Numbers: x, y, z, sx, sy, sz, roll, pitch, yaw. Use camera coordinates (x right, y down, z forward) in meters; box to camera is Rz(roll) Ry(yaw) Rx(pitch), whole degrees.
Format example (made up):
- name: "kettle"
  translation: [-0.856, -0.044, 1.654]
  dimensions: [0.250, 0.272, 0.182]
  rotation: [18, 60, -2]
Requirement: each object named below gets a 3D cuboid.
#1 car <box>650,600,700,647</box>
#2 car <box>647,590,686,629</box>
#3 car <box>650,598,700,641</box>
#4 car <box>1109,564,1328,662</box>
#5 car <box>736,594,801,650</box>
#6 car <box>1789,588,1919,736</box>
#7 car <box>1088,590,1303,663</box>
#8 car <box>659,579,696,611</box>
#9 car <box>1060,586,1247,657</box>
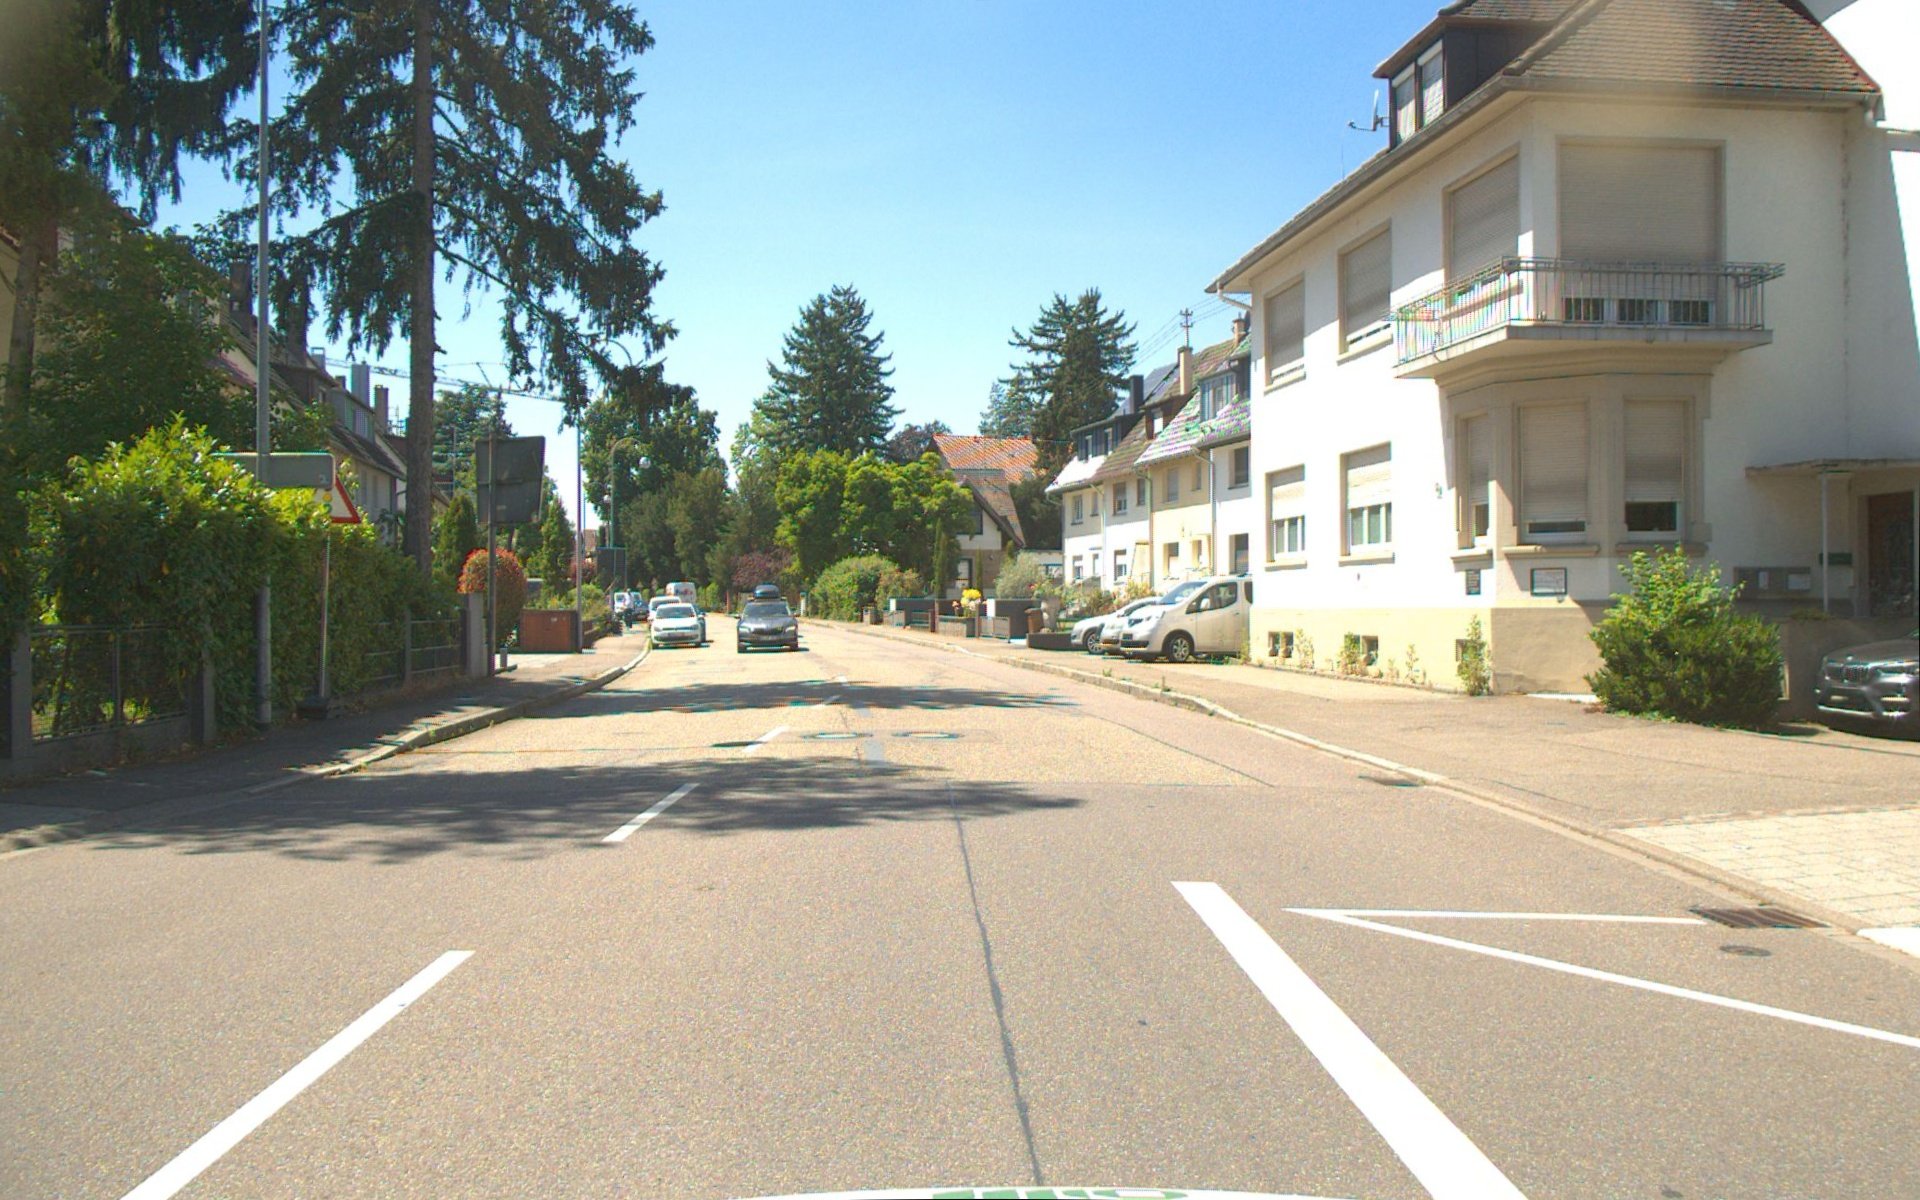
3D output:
- name: "car"
  translation: [-9.669, 0.770, 56.156]
  dimensions: [1.550, 1.448, 3.932]
  rotation: [-3, 1, -10]
- name: "car"
  translation: [-14.374, 0.463, 80.764]
  dimensions: [1.693, 1.766, 3.875]
  rotation: [-3, 1, -12]
- name: "car"
  translation: [-10.690, 0.706, 62.109]
  dimensions: [1.737, 1.464, 4.352]
  rotation: [-2, 1, -10]
- name: "car"
  translation: [5.496, 0.273, 35.261]
  dimensions: [4.221, 1.863, 1.731]
  rotation: [3, 0, -17]
- name: "car"
  translation: [-5.613, 0.610, 48.694]
  dimensions: [1.771, 1.514, 4.381]
  rotation: [-2, 0, -6]
- name: "car"
  translation: [12.072, 0.742, 19.311]
  dimensions: [3.910, 1.620, 1.795]
  rotation: [2, 0, -6]
- name: "car"
  translation: [5.367, 0.593, 37.920]
  dimensions: [4.552, 1.433, 1.766]
  rotation: [3, 0, -7]
- name: "car"
  translation: [-21.888, -0.372, 128.035]
  dimensions: [2.110, 2.356, 4.829]
  rotation: [-2, 1, -18]
- name: "car"
  translation: [4.772, 0.520, 40.803]
  dimensions: [4.204, 1.575, 1.755]
  rotation: [2, -1, 24]
